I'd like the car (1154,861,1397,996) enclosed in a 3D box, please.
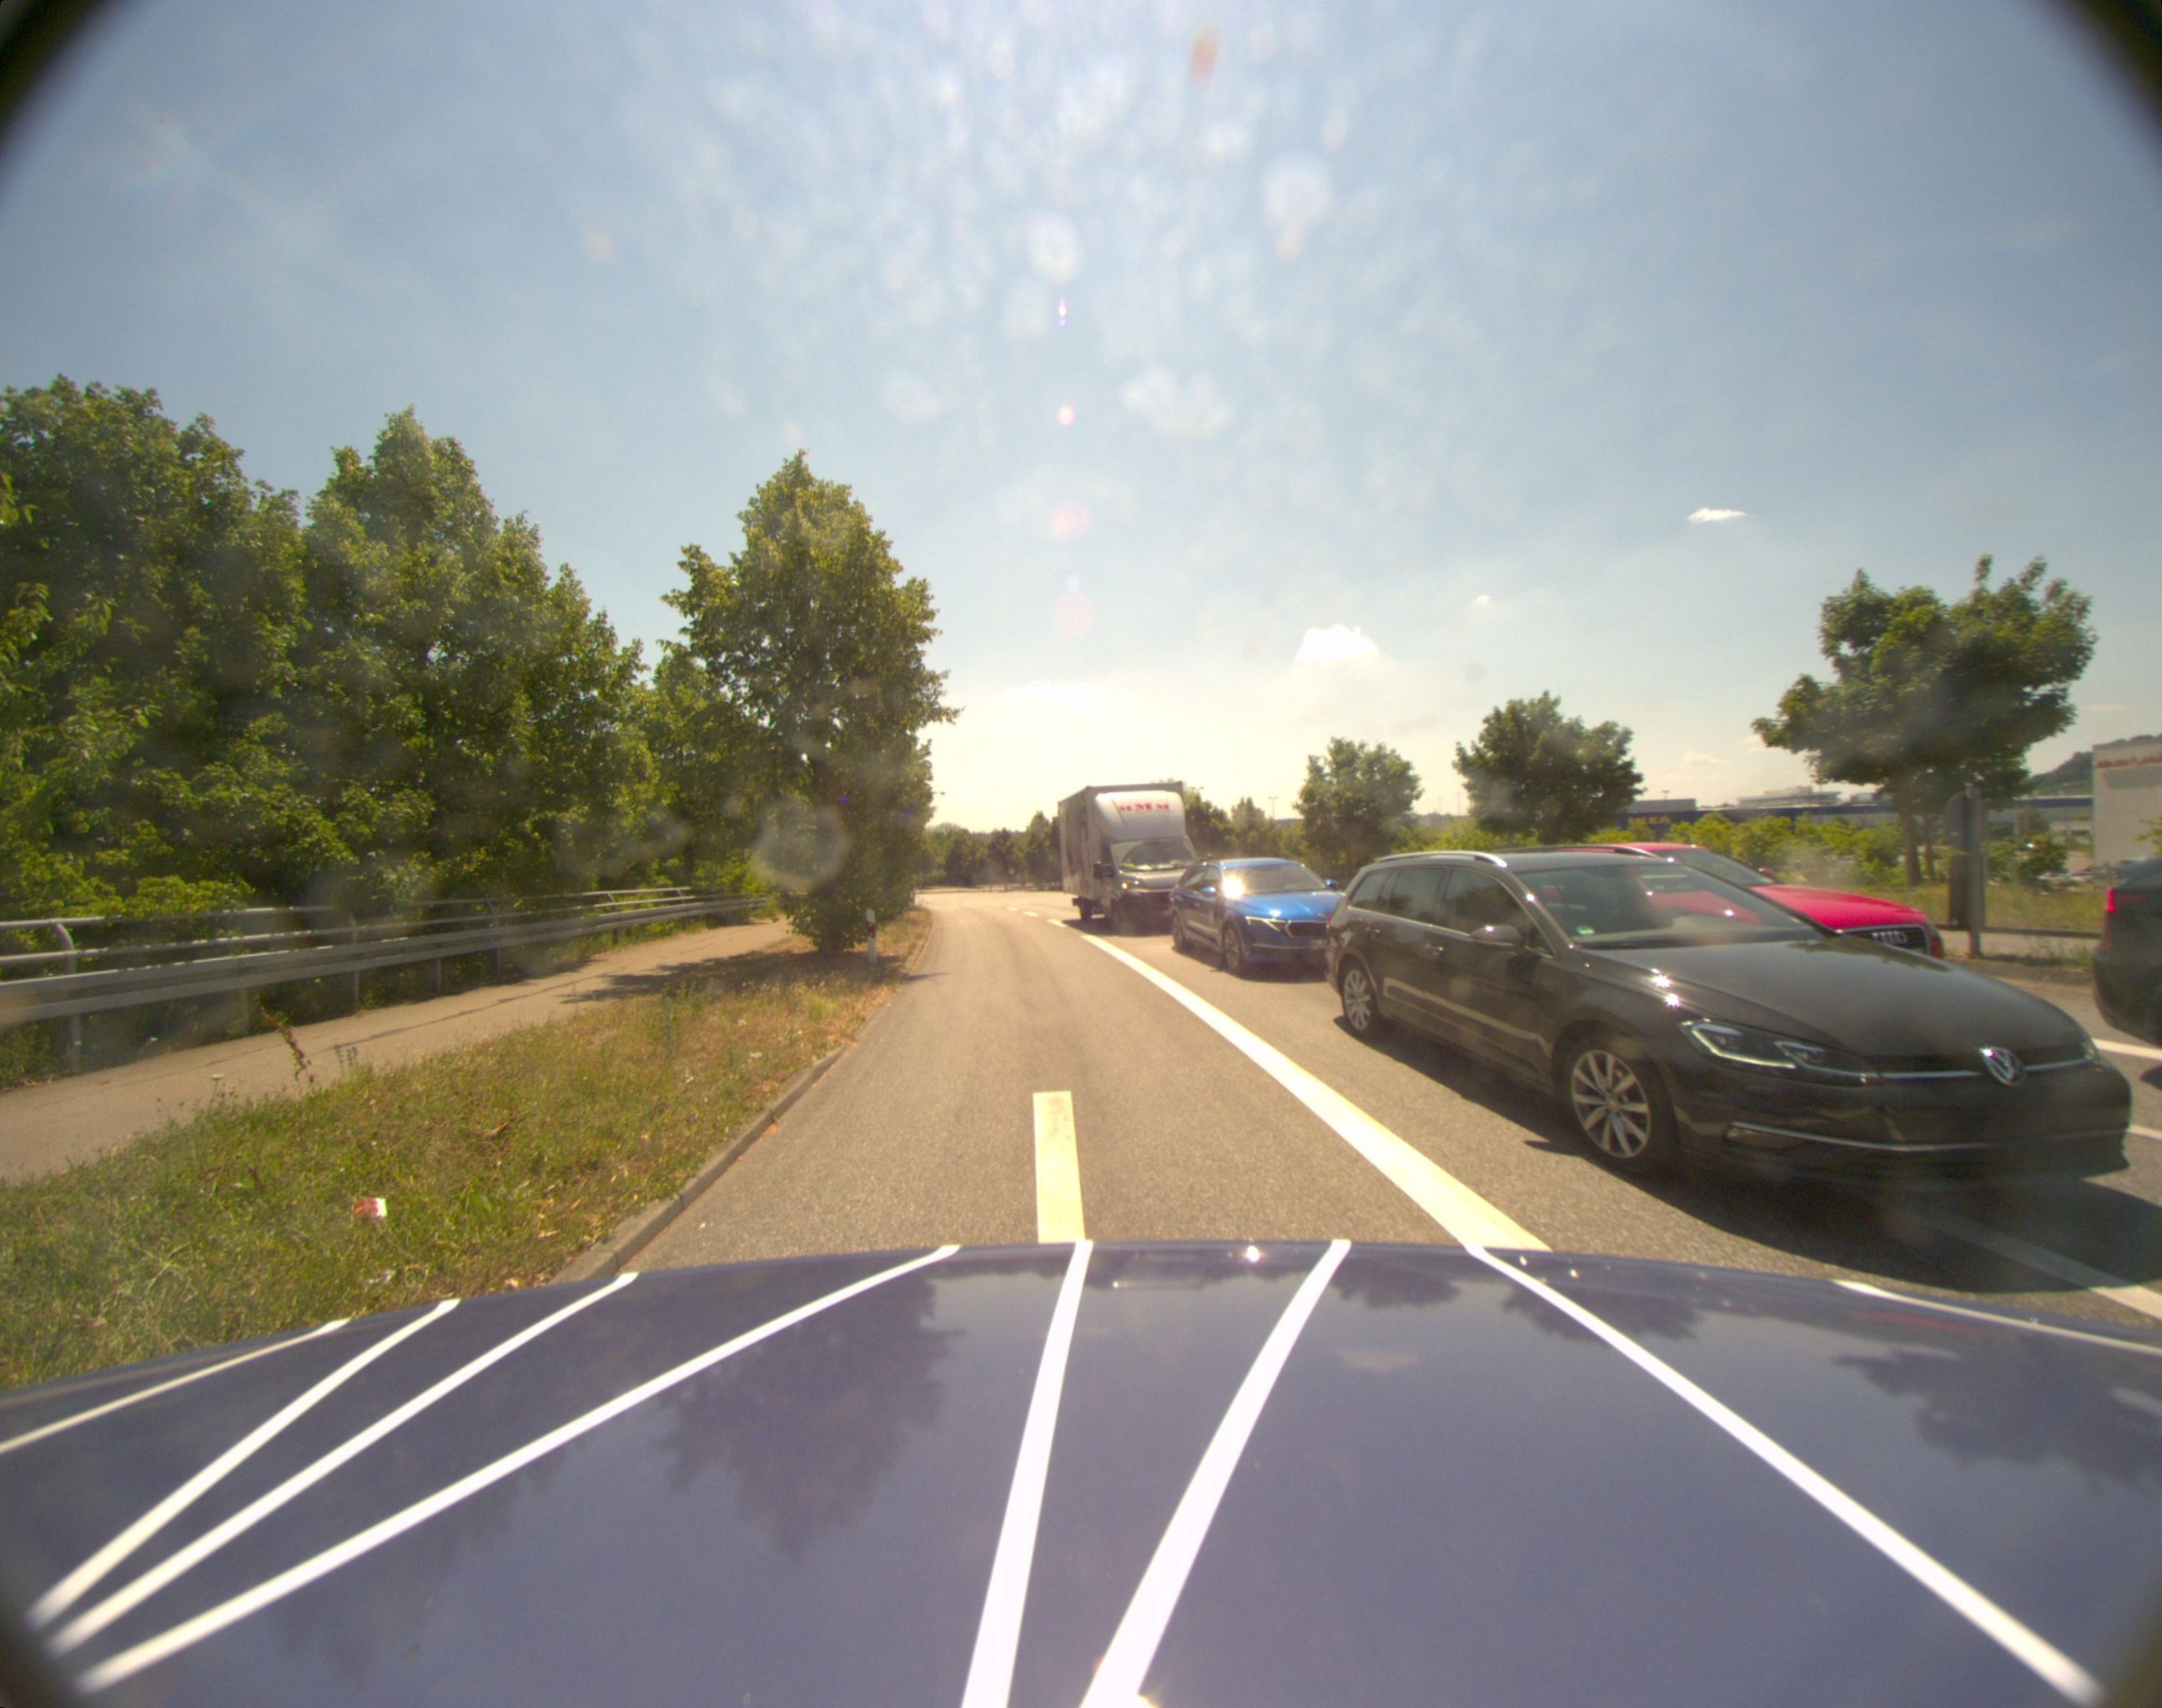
[{"bbox_3d":[2.479,0.890,10.987,1.713,1.454,4.486,-3,-1,-9],"label":"car"}]

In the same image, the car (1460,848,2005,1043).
[{"bbox_3d":[6.123,0.678,8.031,1.665,1.380,4.447,-3,1,-5],"label":"car"}]

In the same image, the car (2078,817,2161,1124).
[{"bbox_3d":[6.690,0.586,2.076,1.880,1.591,4.503,-2,1,-5],"label":"car"}]

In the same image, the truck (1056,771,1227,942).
[{"bbox_3d":[1.113,0.113,18.789,2.416,3.327,7.198,-2,-1,-9],"label":"truck"}]

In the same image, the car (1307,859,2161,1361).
[{"bbox_3d":[3.094,0.822,4.657,1.783,1.474,4.427,-2,0,-4],"label":"car"}]
